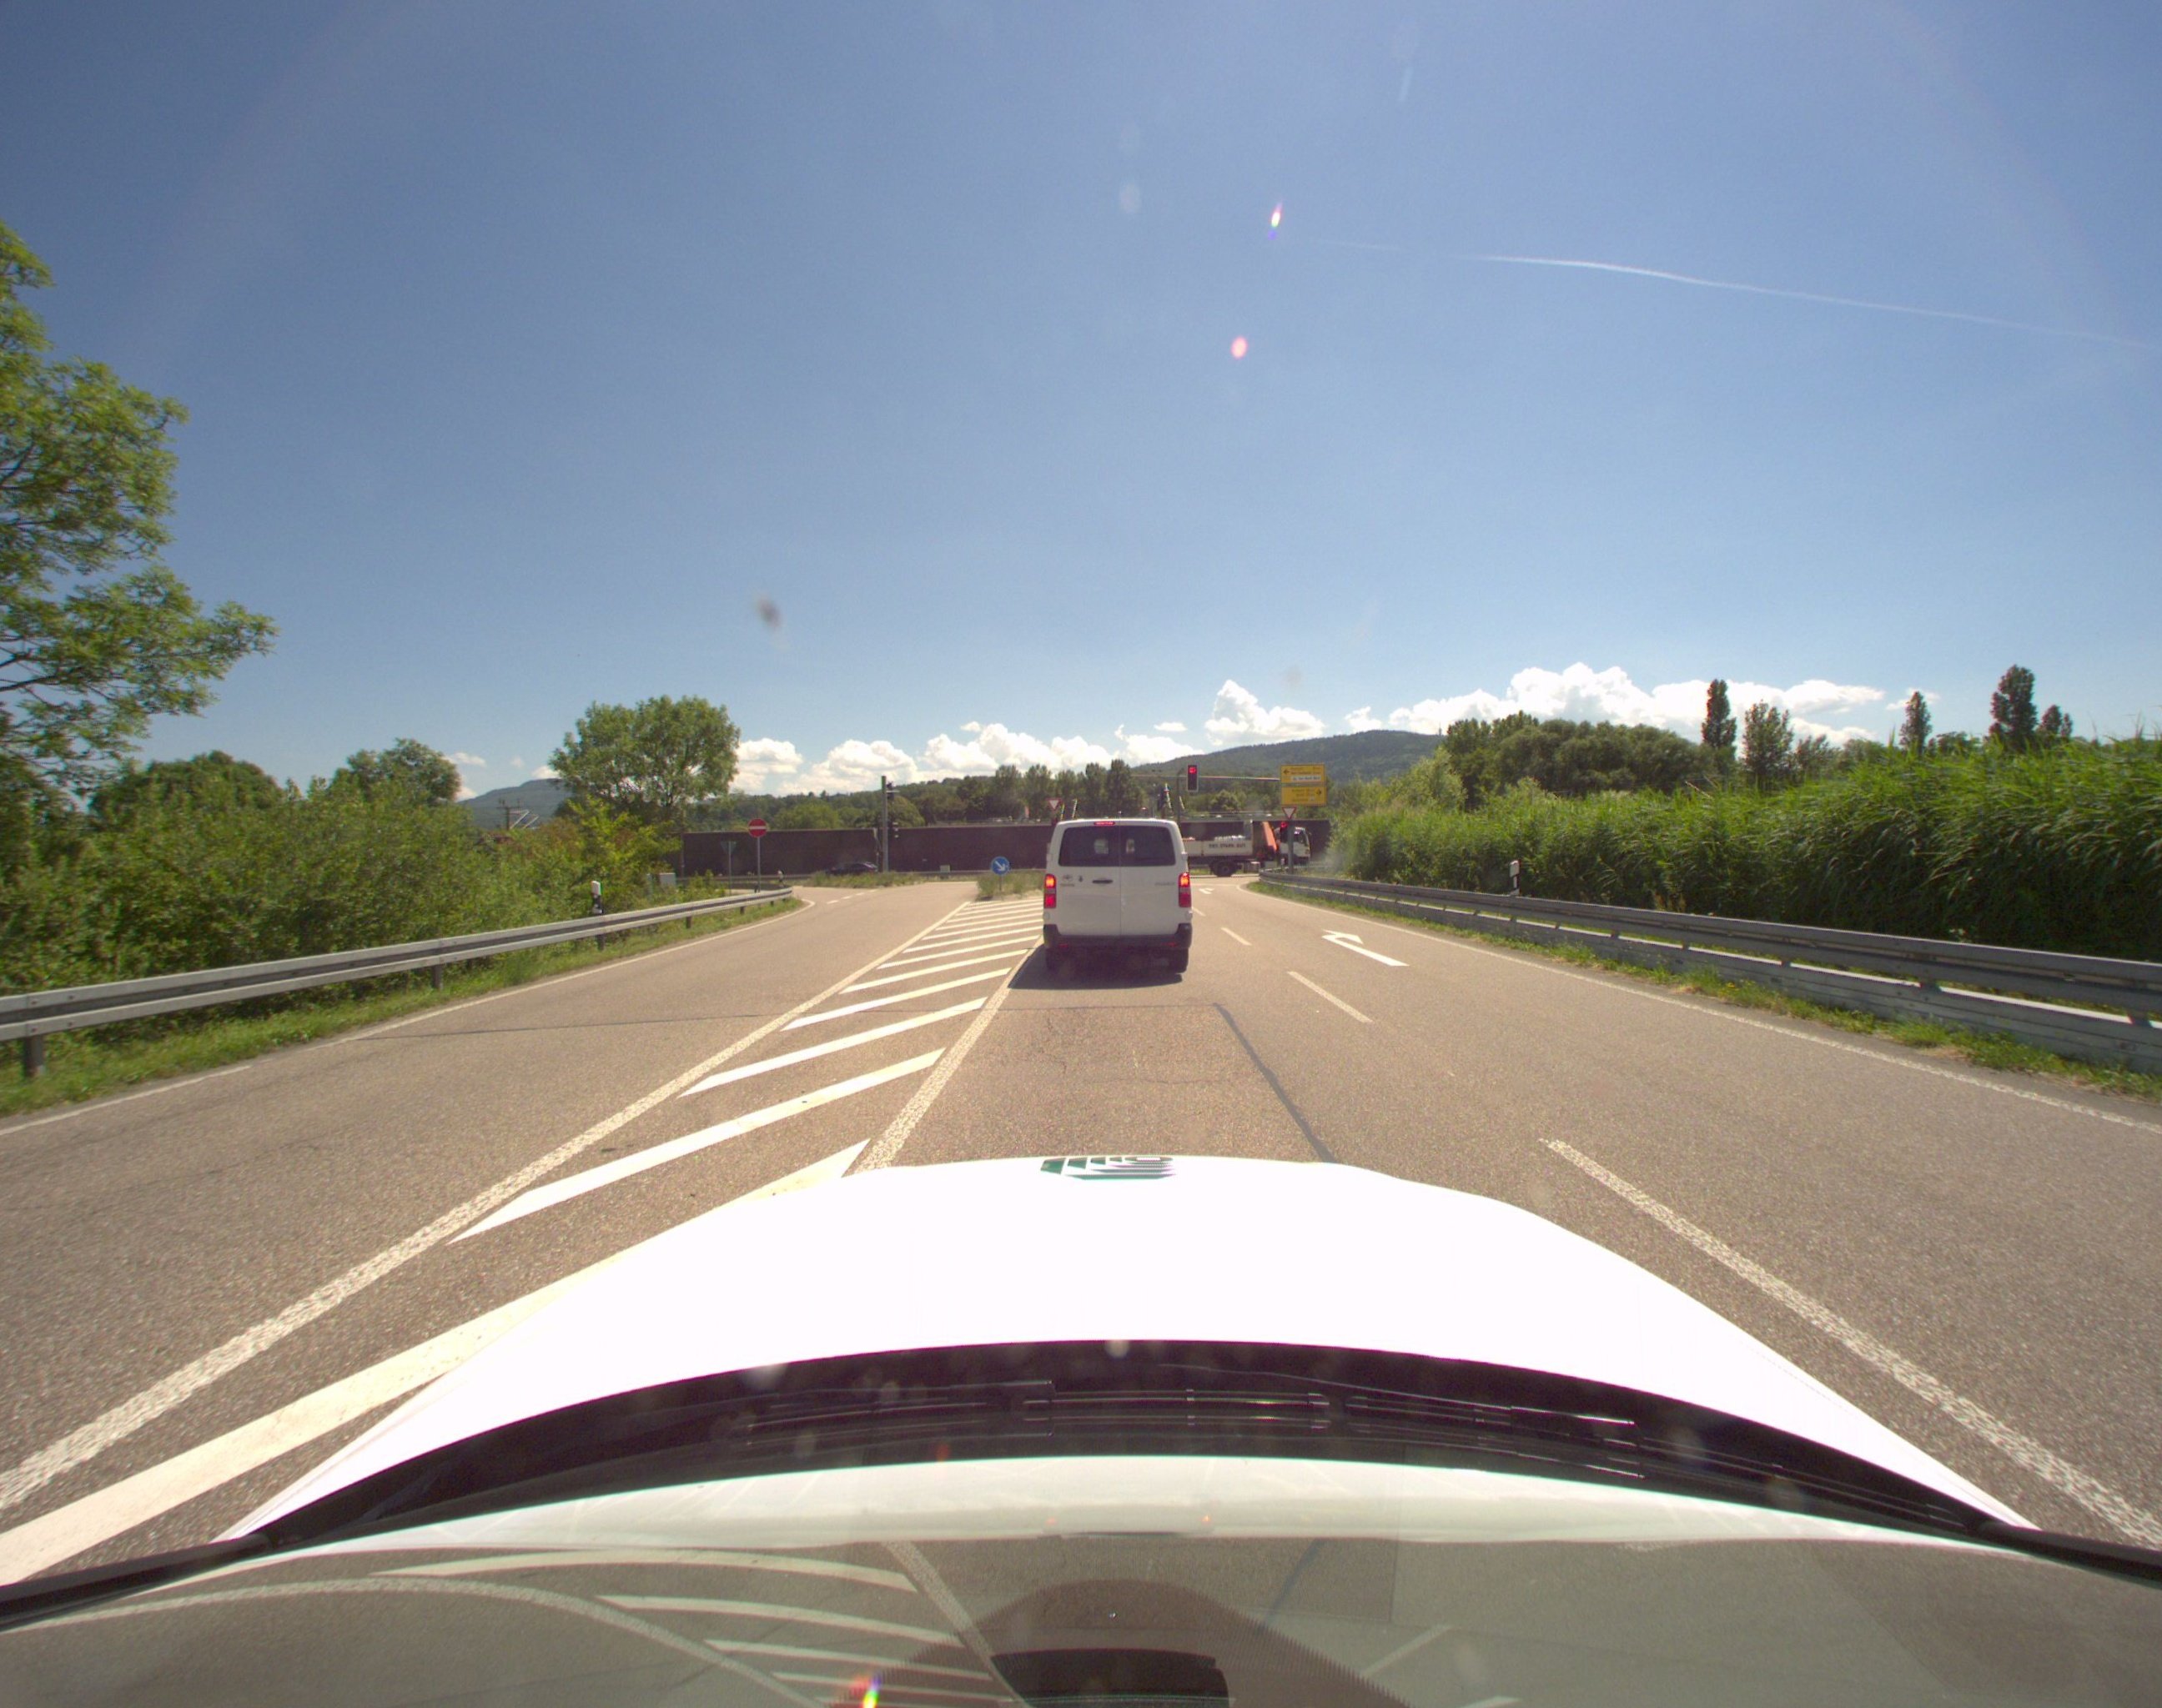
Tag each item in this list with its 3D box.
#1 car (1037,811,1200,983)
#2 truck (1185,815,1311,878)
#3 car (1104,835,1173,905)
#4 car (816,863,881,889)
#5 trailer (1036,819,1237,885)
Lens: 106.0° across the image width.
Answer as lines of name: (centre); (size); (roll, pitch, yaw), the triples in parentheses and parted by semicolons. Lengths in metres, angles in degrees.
car: (0.490, 0.504, 11.392); (1.863, 1.964, 4.001); (-1, 0, 2)
truck: (10.477, -0.487, 51.395); (7.382, 3.504, 2.232); (-3, 1, -1)
car: (1.796, 0.488, 26.467); (1.986, 2.013, 4.002); (-3, 0, 2)
car: (-16.607, 1.531, 58.338); (4.089, 1.474, 1.947); (-4, 1, -4)
trailer: (3.428, -0.124, 51.214); (12.284, 3.504, 2.232); (-3, 1, -1)
